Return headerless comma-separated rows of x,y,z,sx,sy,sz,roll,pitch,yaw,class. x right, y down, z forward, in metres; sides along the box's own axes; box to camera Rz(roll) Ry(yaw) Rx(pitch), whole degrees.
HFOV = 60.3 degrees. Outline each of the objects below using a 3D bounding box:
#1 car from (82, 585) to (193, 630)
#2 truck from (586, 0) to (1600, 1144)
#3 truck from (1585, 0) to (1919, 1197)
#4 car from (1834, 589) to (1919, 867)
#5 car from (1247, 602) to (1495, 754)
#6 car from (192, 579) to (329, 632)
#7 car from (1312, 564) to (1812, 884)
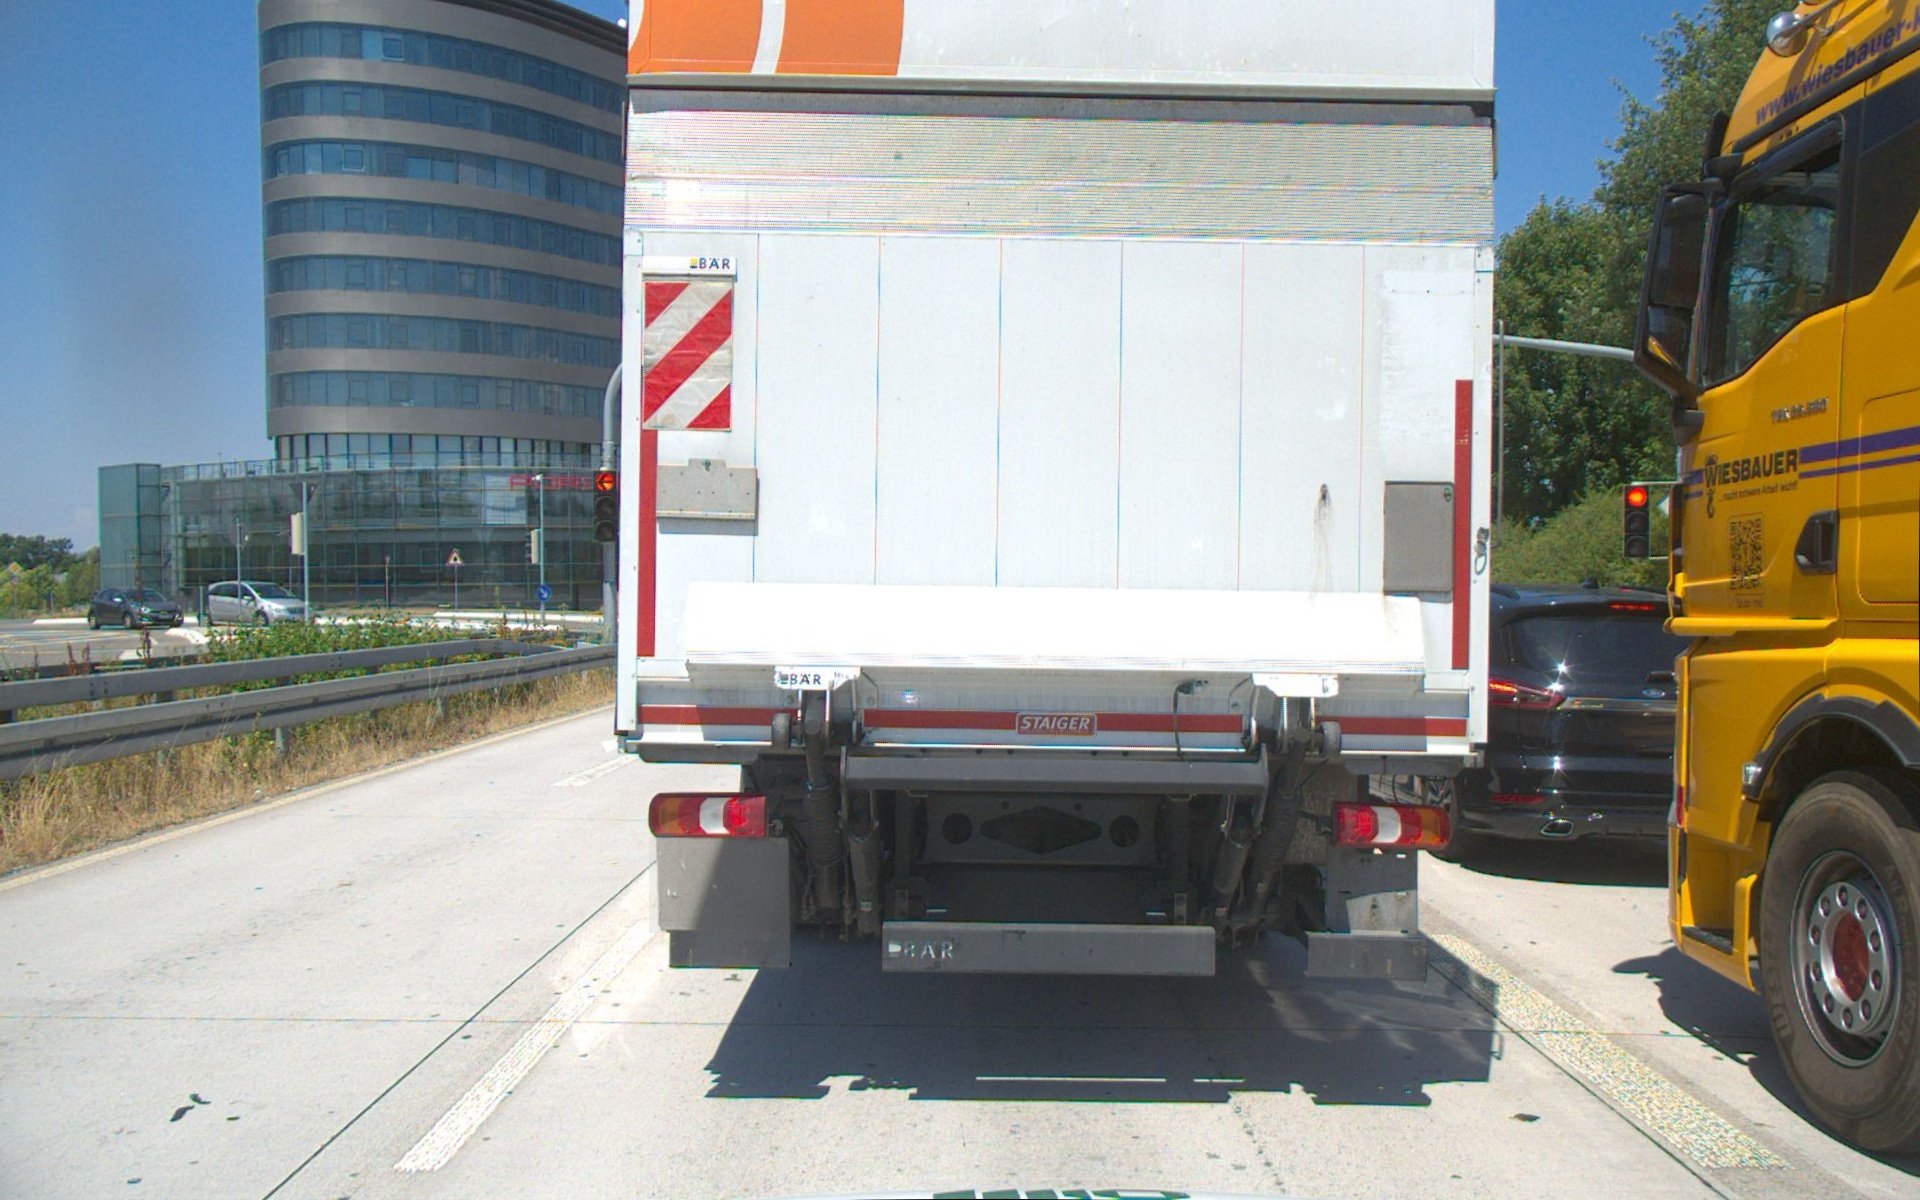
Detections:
-28.798,0.286,57.903,4.241,1.482,1.691,-2,-2,35,car
0.314,-0.486,9.178,2.713,3.927,9.368,1,0,-1,truck
3.950,-0.411,2.464,2.953,3.838,7.466,1,0,-2,truck
7.330,0.859,9.582,1.733,1.839,4.788,1,0,-4,car
4.373,0.762,18.306,1.731,1.435,4.611,1,0,2,car
-22.658,0.202,53.569,4.231,1.623,1.775,-1,-2,27,car
3.697,0.668,11.126,1.747,1.668,4.648,1,0,1,car
